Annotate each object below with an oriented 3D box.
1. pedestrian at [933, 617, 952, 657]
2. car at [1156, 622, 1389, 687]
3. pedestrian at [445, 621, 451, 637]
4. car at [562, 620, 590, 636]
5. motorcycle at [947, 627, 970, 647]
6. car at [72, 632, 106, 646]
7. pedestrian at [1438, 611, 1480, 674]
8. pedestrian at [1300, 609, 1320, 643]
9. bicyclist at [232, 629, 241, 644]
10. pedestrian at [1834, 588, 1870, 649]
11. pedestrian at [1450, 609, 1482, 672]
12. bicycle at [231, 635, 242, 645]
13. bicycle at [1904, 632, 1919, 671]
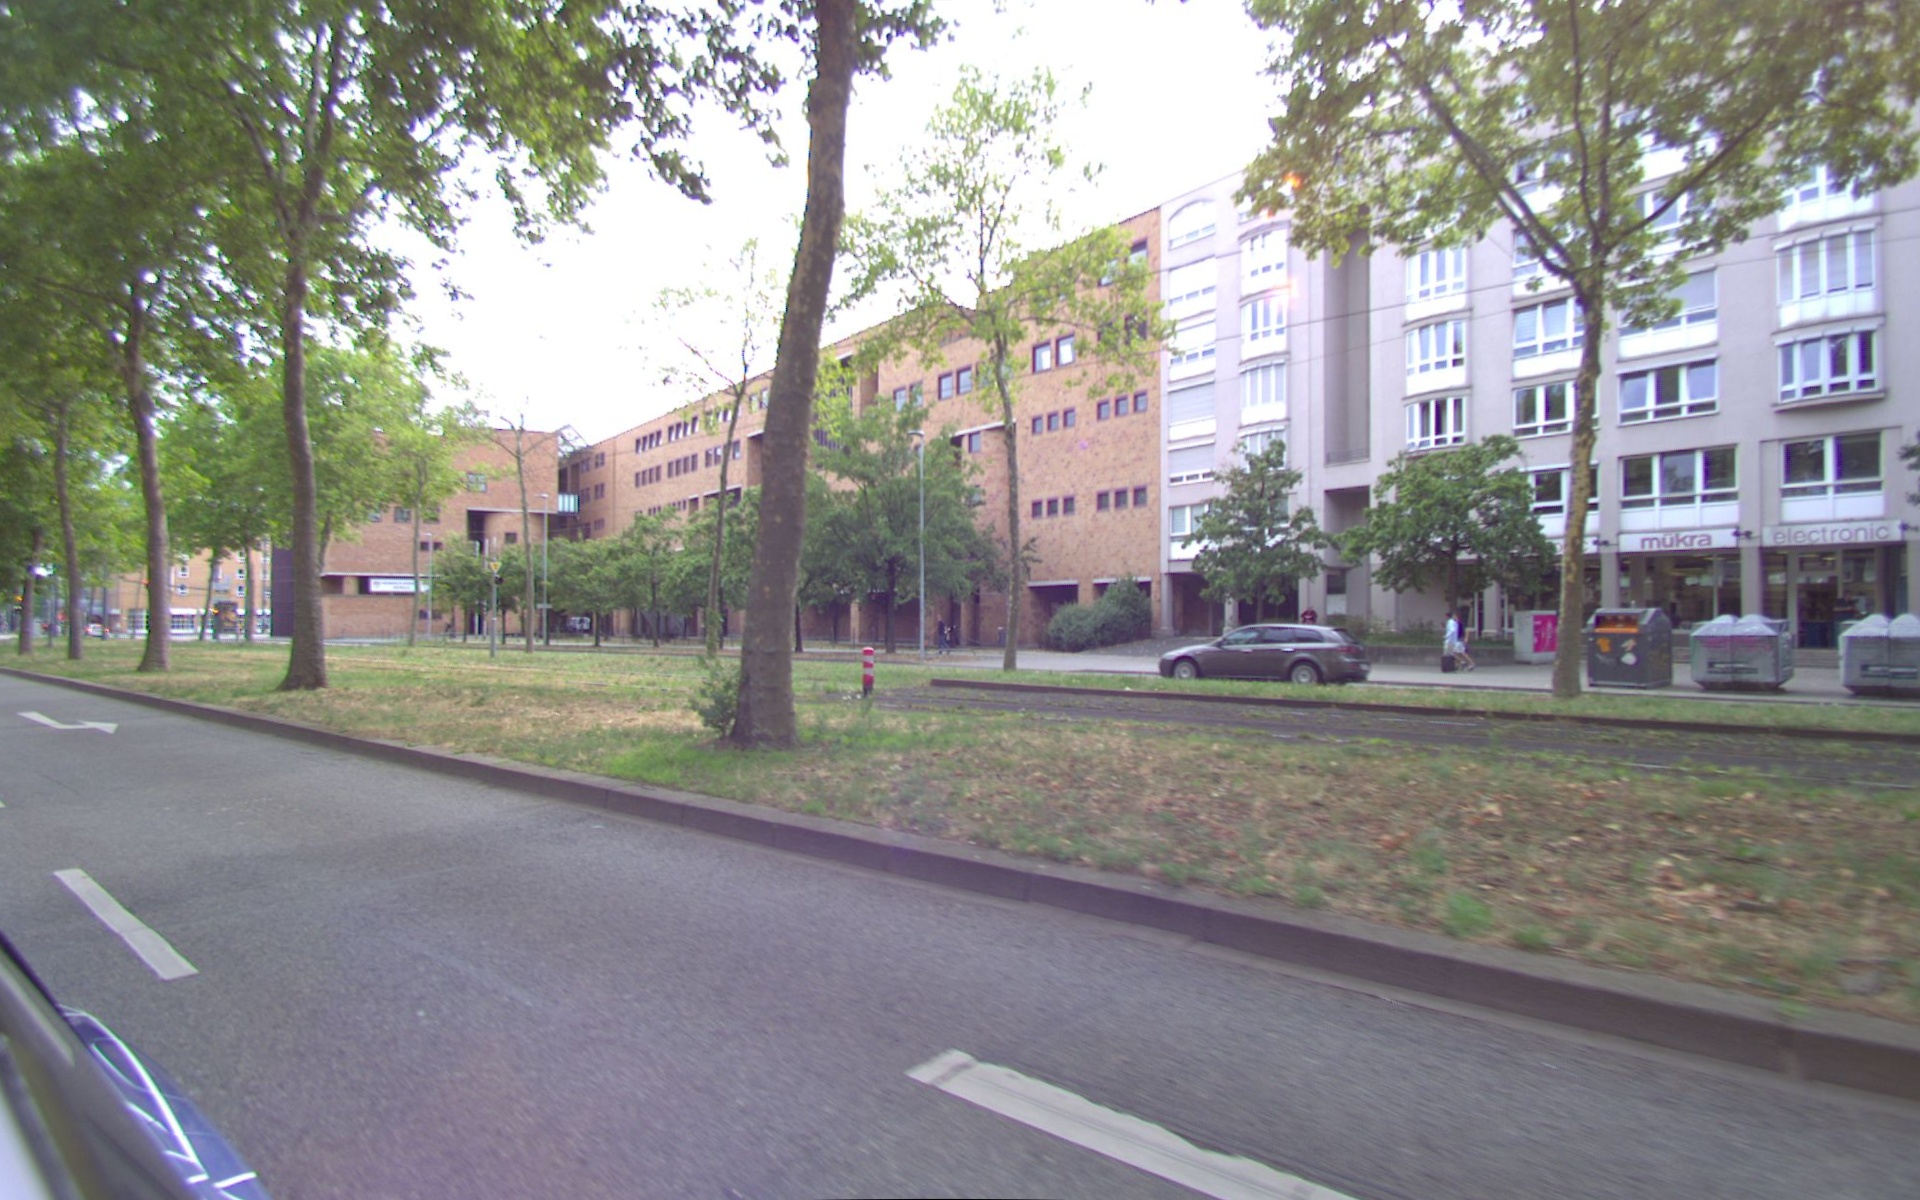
[{"bbox_3d":[-0.764,1.578,43.539,0.546,1.718,0.626,1,-3,-45],"label":"pedestrian"},{"bbox_3d":[6.678,1.120,21.911,4.531,1.254,1.712,-1,-2,40],"label":"car"},{"bbox_3d":[-49.962,2.824,98.751,0.500,1.543,0.521,1,-2,-35],"label":"pedestrian"},{"bbox_3d":[-43.332,3.177,114.105,1.868,1.821,4.008,1,-2,-38],"label":"car"},{"bbox_3d":[-0.091,2.248,62.416,0.790,1.200,2.184,-1,-2,17],"label":"motorcycle"},{"bbox_3d":[-86.864,3.894,100.895,4.653,1.432,1.766,-2,-3,39],"label":"car"},{"bbox_3d":[13.753,1.159,27.909,0.546,1.718,0.885,1,-3,-45],"label":"pedestrian"},{"bbox_3d":[13.660,1.011,39.536,0.451,1.333,0.555,1,-2,-38],"label":"pedestrian"},{"bbox_3d":[-78.859,4.001,110.301,0.984,1.603,0.656,-2,-3,43],"label":"bicyclist"},{"bbox_3d":[24.955,0.525,28.312,0.628,1.684,0.660,1,-2,-40],"label":"pedestrian"},{"bbox_3d":[14.163,1.125,28.339,0.546,1.718,0.626,1,-3,-45],"label":"pedestrian"},{"bbox_3d":[-78.848,4.385,110.276,2.094,1.092,0.660,-2,-3,44],"label":"bicycle"},{"bbox_3d":[24.025,1.254,24.523,0.433,0.950,1.635,1,-2,-41],"label":"bicycle"}]
